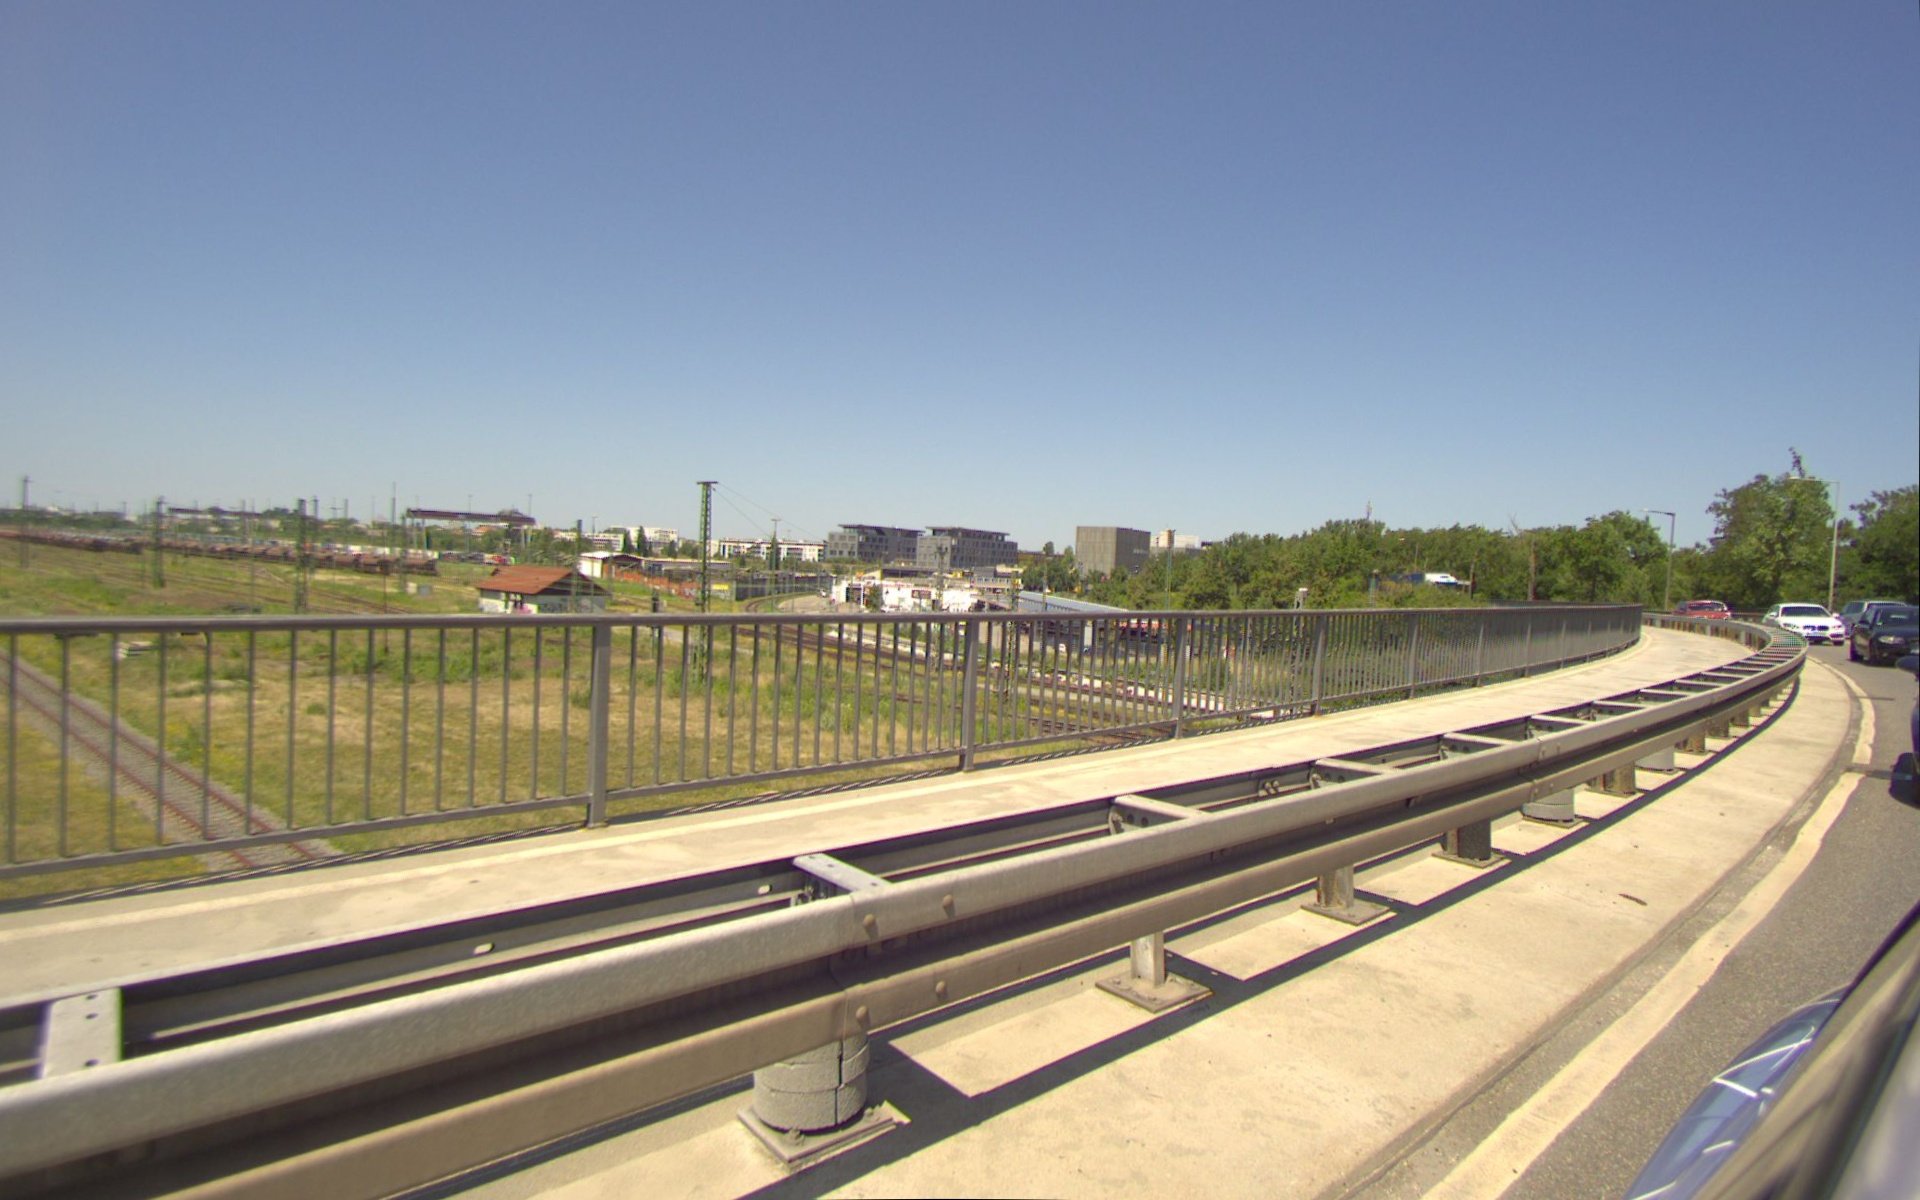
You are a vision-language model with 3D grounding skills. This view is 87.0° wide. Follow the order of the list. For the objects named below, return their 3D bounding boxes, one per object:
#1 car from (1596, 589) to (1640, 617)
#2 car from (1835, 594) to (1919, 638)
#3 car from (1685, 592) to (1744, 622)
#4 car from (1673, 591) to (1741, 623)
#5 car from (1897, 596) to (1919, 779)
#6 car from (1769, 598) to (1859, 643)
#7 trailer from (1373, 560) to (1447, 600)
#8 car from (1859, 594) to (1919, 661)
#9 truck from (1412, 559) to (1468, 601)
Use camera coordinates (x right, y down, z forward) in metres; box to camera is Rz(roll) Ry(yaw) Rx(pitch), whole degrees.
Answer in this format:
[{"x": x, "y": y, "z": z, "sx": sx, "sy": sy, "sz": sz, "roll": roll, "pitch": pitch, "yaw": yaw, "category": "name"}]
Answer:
[{"x": 51.272, "y": 0.216, "z": 78.934, "sx": 1.975, "sy": 2.039, "sz": 3.975, "roll": 1, "pitch": 1, "yaw": 19, "category": "car"}, {"x": 37.579, "y": 0.611, "z": 41.477, "sx": 1.684, "sy": 1.627, "sz": 3.961, "roll": 2, "pitch": 1, "yaw": 28, "category": "car"}, {"x": 45.039, "y": 0.382, "z": 60.509, "sx": 1.679, "sy": 1.627, "sz": 3.973, "roll": 2, "pitch": 1, "yaw": 20, "category": "car"}, {"x": 37.911, "y": 0.329, "z": 51.488, "sx": 1.776, "sy": 1.473, "sz": 4.488, "roll": 1, "pitch": 1, "yaw": 23, "category": "car"}, {"x": 8.465, "y": 0.709, "z": 7.761, "sx": 1.638, "sy": 1.457, "sz": 3.942, "roll": 1, "pitch": 1, "yaw": 40, "category": "car"}, {"x": 30.251, "y": 0.676, "z": 35.973, "sx": 1.782, "sy": 1.473, "sz": 4.472, "roll": 1, "pitch": 1, "yaw": 32, "category": "car"}, {"x": 50.429, "y": -2.221, "z": 113.875, "sx": 2.651, "sy": 4.287, "sz": 12.713, "roll": 0, "pitch": 1, "yaw": 0, "category": "trailer"}, {"x": 22.731, "y": 0.607, "z": 23.909, "sx": 1.785, "sy": 1.473, "sz": 4.464, "roll": 1, "pitch": 1, "yaw": 36, "category": "car"}, {"x": 50.488, "y": -2.097, "z": 106.604, "sx": 2.645, "sy": 4.281, "sz": 6.839, "roll": 0, "pitch": 0, "yaw": 0, "category": "truck"}]
